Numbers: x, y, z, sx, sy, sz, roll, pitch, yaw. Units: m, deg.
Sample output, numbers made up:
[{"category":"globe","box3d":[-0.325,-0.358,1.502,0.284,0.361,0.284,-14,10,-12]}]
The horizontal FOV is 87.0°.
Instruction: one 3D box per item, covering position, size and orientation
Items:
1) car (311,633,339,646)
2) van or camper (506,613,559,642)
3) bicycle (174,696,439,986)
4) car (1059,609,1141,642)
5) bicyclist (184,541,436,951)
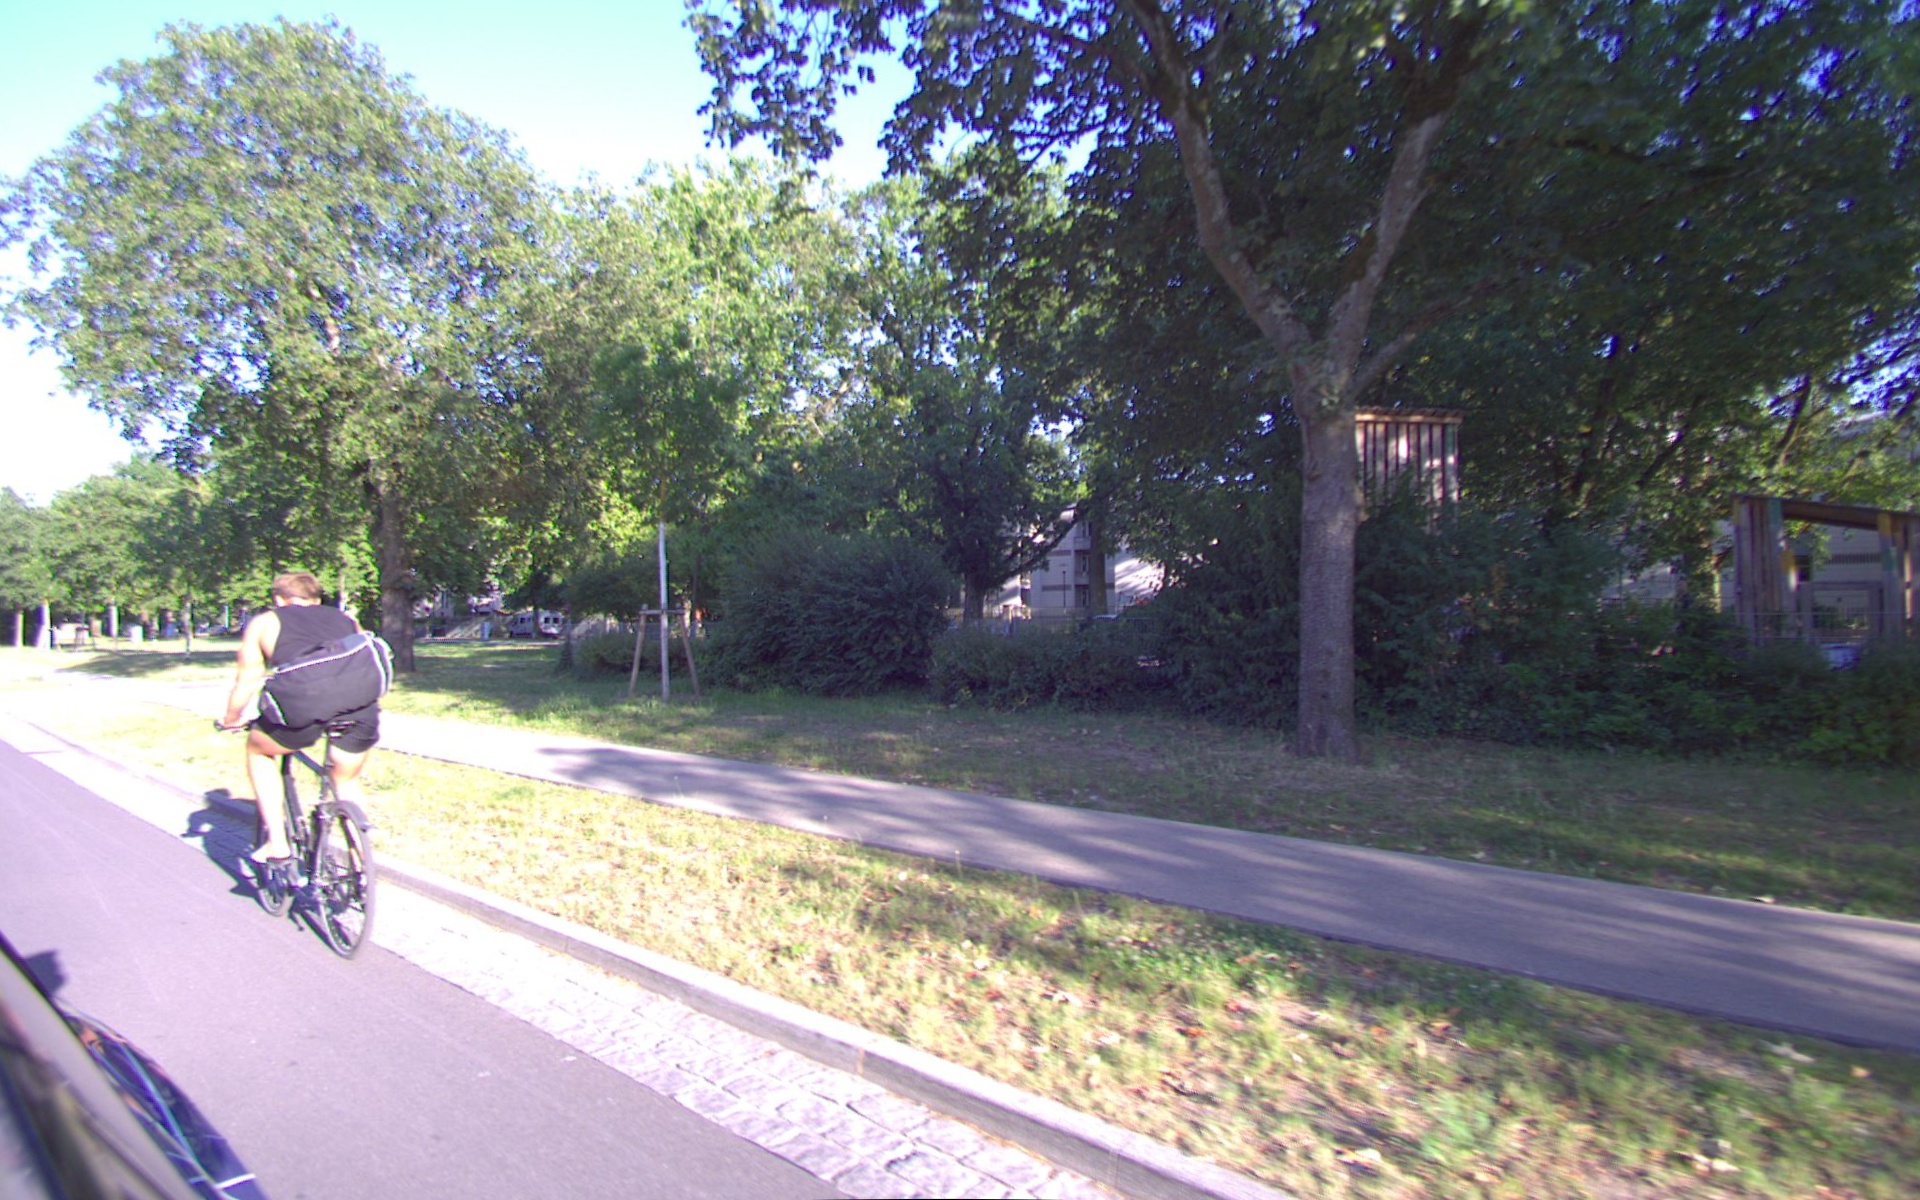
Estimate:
[{"category":"car","box3d":[-77.180,4.800,123.016,3.997,1.475,1.774,-2,-1,40]},{"category":"van or camper","box3d":[-37.121,2.412,87.822,5.461,2.458,1.974,-2,-2,40]},{"category":"bicycle","box3d":[-3.219,1.046,4.905,1.914,1.039,0.550,-1,-2,41]},{"category":"car","box3d":[6.751,1.236,48.956,3.663,1.475,1.583,-2,-1,43]},{"category":"bicyclist","box3d":[-3.102,0.609,4.807,1.172,1.685,0.674,-1,-2,41]}]
